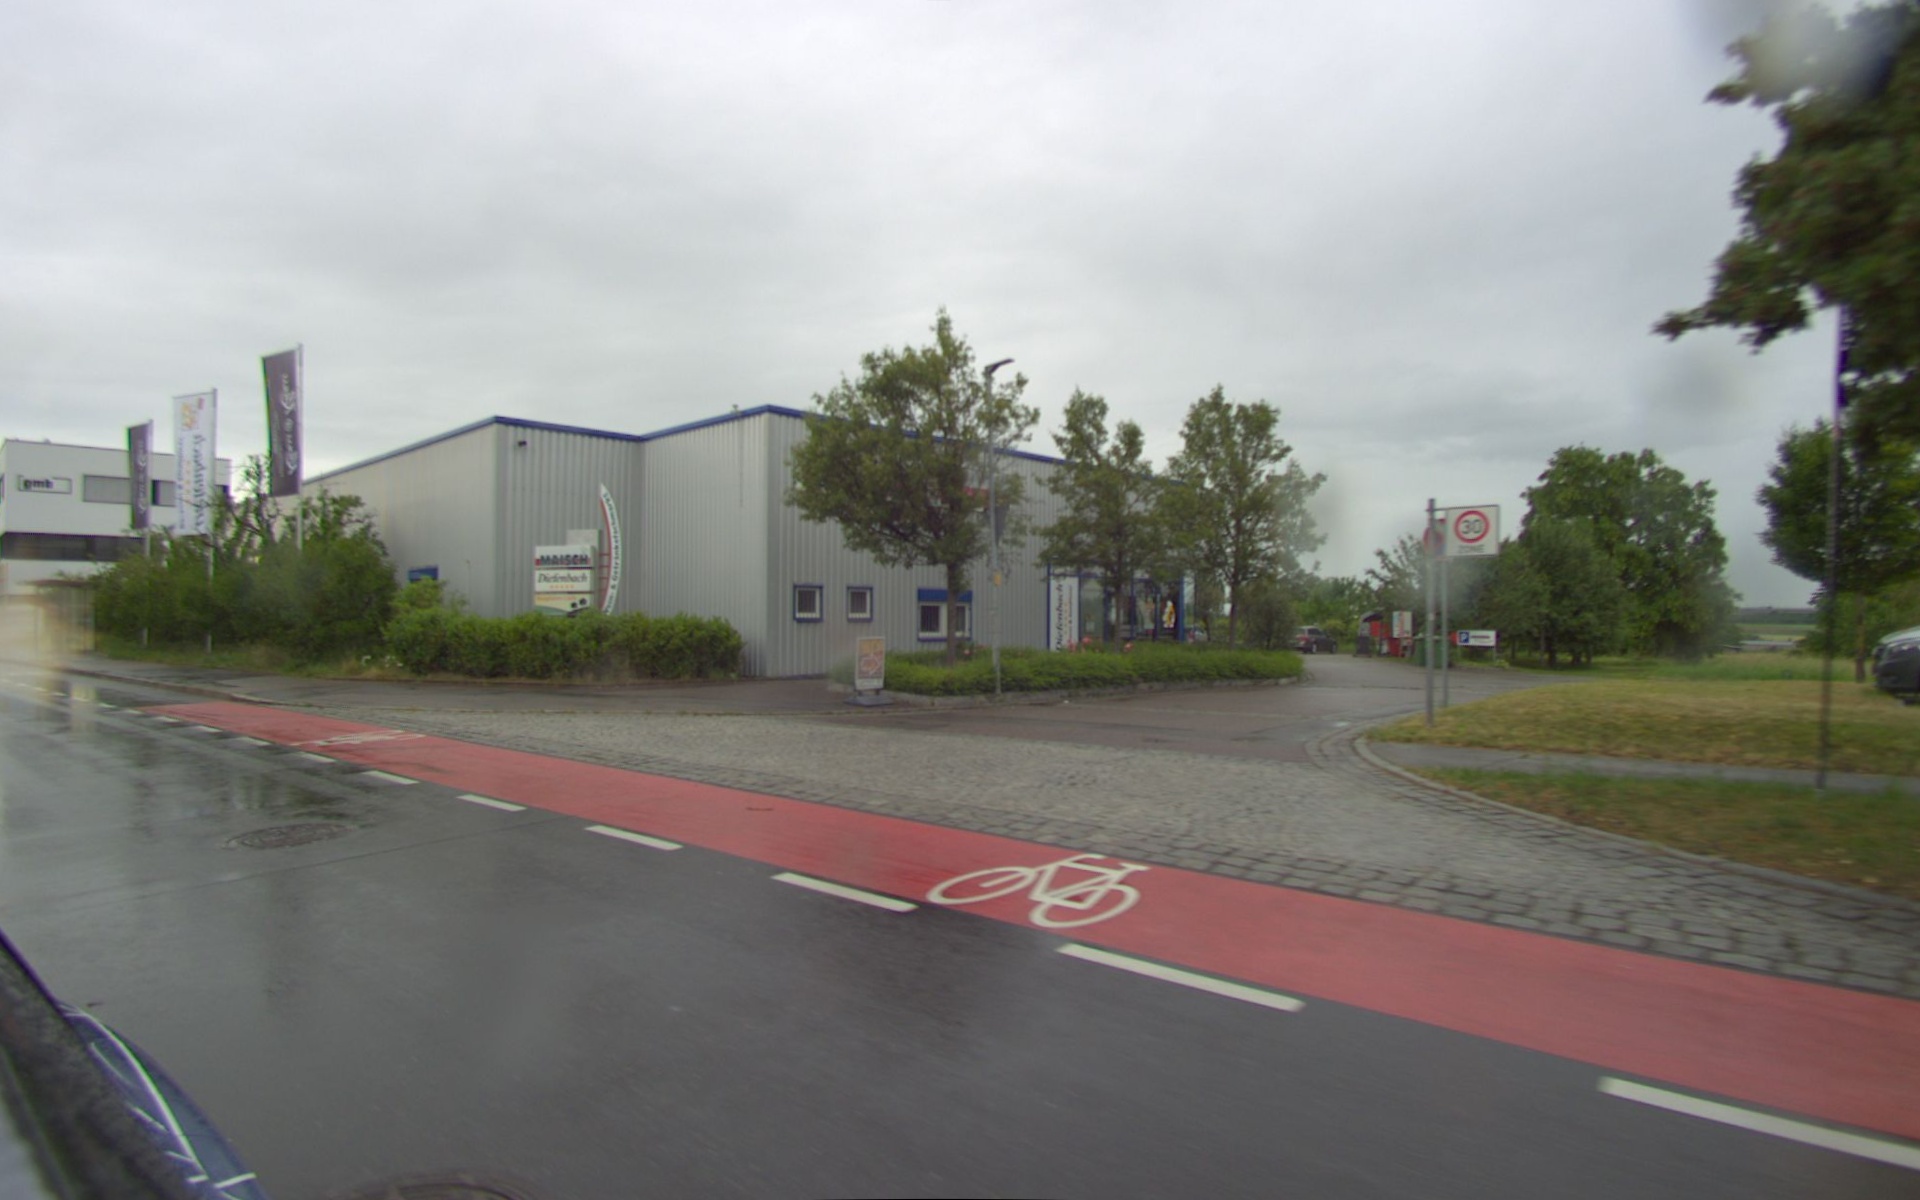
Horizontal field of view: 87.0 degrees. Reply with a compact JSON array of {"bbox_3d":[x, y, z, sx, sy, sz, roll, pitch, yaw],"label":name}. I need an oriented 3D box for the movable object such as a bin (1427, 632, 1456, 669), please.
[{"bbox_3d":[16.689,1.735,35.080,0.621,1.226,0.665,-1,-1,1],"label":"movable object such as a bin"}]

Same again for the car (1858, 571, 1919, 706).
[{"bbox_3d":[15.476,0.453,13.110,5.604,1.836,2.013,-2,-1,40],"label":"car"}]

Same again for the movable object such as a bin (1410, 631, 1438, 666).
[{"bbox_3d":[16.635,1.740,36.266,0.621,1.226,0.763,-1,-1,1],"label":"movable object such as a bin"}]
